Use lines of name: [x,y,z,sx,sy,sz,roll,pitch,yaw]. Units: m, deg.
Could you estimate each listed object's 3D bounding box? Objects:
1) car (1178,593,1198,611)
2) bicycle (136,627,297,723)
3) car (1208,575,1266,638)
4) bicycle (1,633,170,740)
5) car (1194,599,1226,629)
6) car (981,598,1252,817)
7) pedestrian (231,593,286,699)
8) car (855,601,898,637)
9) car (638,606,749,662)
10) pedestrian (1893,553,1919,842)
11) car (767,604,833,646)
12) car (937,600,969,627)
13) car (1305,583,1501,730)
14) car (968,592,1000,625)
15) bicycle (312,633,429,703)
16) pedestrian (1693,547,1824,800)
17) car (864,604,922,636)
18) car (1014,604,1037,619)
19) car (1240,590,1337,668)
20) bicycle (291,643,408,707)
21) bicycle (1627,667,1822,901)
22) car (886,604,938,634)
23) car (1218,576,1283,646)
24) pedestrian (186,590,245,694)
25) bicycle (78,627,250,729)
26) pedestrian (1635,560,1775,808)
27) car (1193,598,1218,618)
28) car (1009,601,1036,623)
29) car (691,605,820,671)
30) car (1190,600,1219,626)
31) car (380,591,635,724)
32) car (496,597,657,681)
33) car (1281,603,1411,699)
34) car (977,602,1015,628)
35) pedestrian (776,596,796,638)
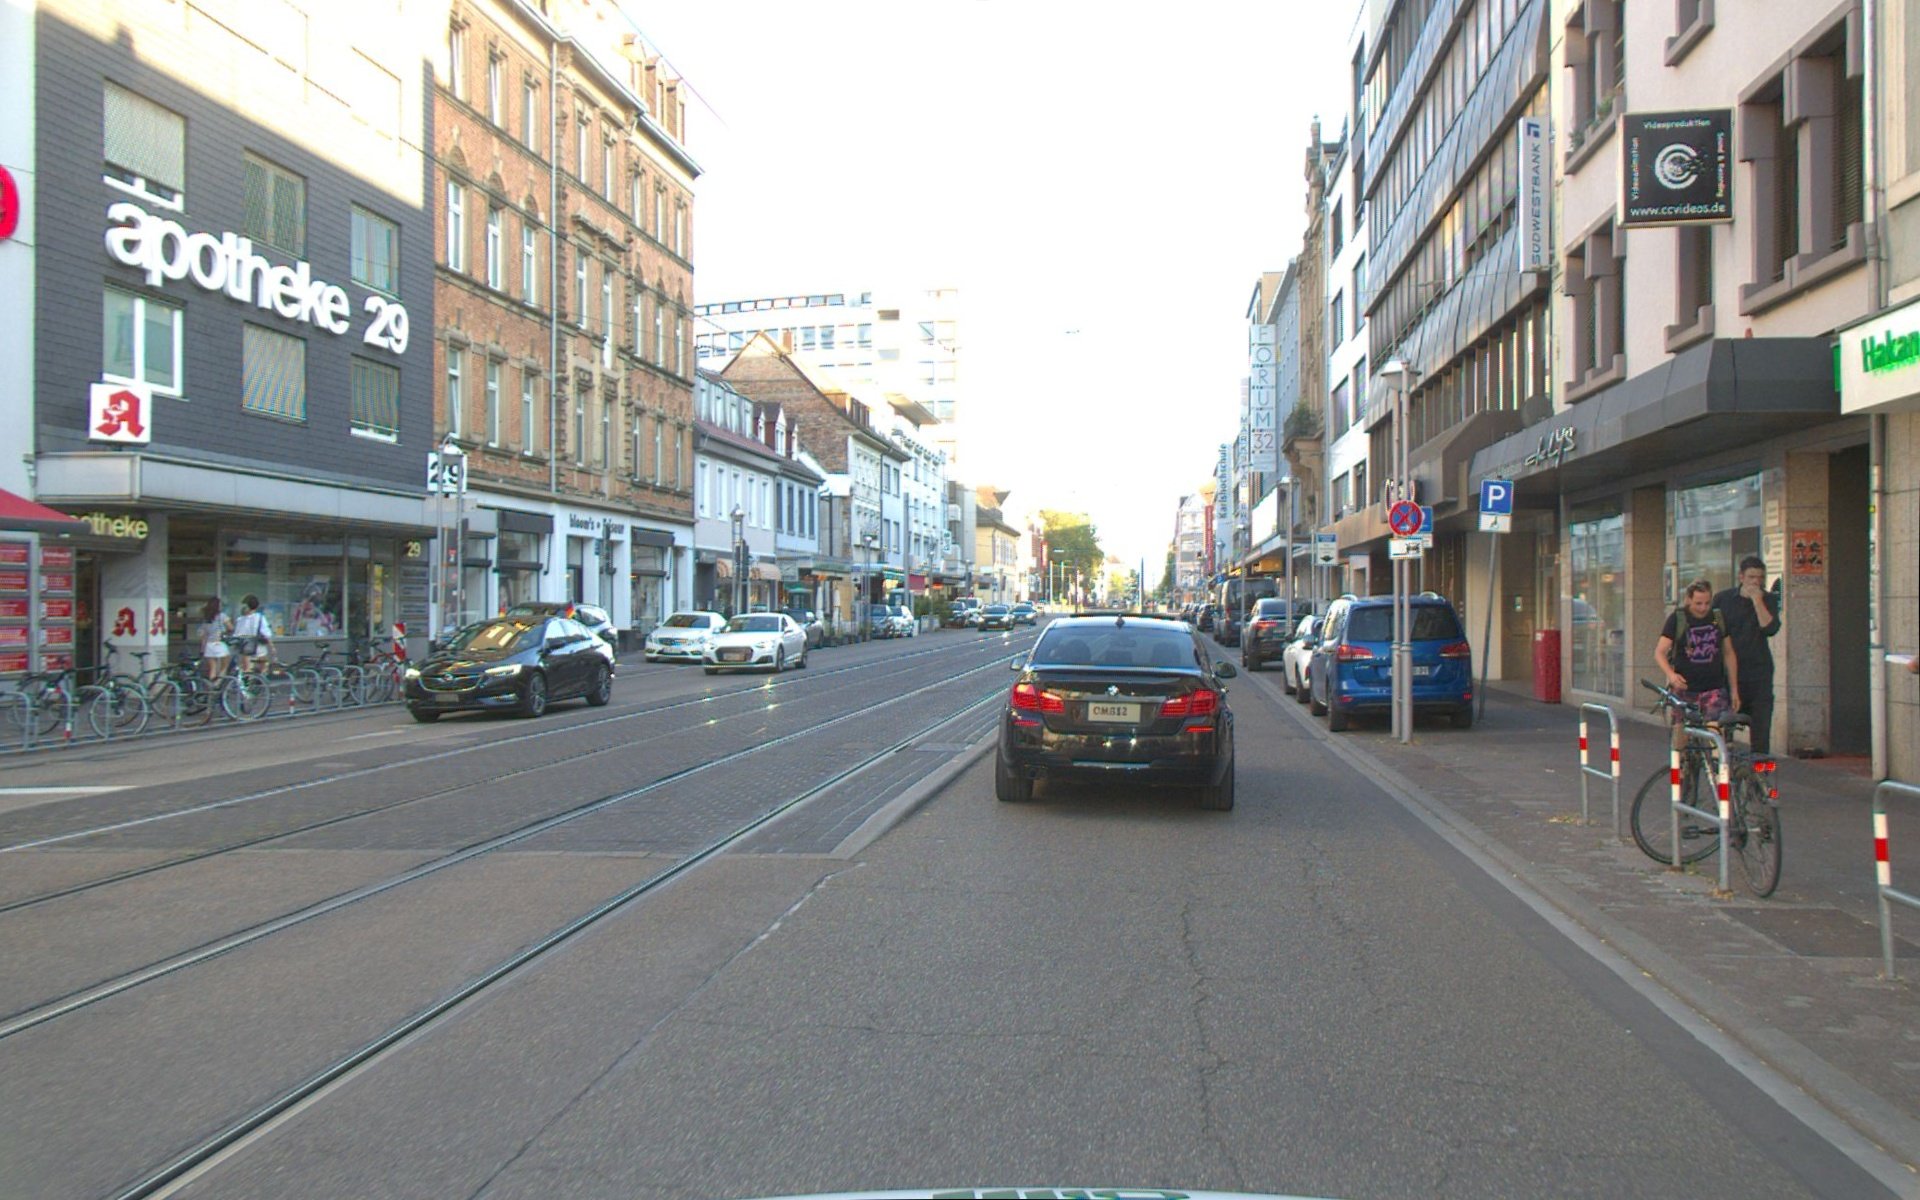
car: [20.911,0.195,151.951,1.736,1.576,3.505,0,-1,7]
bicycle: [-10.548,1.054,23.491,2.067,1.245,0.553,2,1,7]
car: [11.708,0.253,70.229,1.990,2.498,5.413,-2,0,5]
bicycle: [-10.924,1.068,20.677,1.851,1.232,0.553,2,0,7]
car: [13.953,0.772,92.449,1.619,1.564,3.888,-1,0,7]
car: [1.441,0.799,14.074,1.912,1.525,4.468,1,-1,9]
pedestrian: [-11.555,0.746,27.236,0.607,1.729,0.603,0,0,7]
car: [-3.759,0.839,74.787,1.445,1.605,2.797,0,0,7]
car: [-7.450,0.925,46.720,1.829,1.478,4.614,0,0,8]
pedestrian: [6.418,0.611,10.273,0.750,1.837,0.928,-2,-1,8]
car: [-5.803,0.926,60.431,1.564,1.465,3.815,1,-1,8]
car: [-0.398,0.863,105.592,1.827,1.714,4.001,1,0,3]
car: [5.975,0.711,22.832,1.951,1.757,4.580,-2,0,7]
car: [1.682,0.580,113.569,1.952,2.194,4.913,0,0,4]
bicycle: [-9.923,1.136,27.841,1.792,1.065,0.489,2,2,7]
pedestrian: [6.412,0.572,13.322,0.647,1.961,0.879,-1,0,5]
car: [-3.167,0.934,79.325,1.951,1.478,4.825,0,0,8]
car: [6.437,1.134,162.773,1.887,1.460,4.249,1,0,7]
car: [8.005,0.684,40.653,1.951,1.757,4.568,-2,0,7]
bicycle: [-9.962,1.221,27.001,1.767,0.928,0.456,2,2,7]
bicycle: [4.315,0.994,9.431,0.522,1.167,1.491,-1,0,5]
car: [-2.435,0.963,84.556,1.951,1.478,4.333,0,0,8]
car: [11.110,0.410,63.635,2.048,2.498,6.036,-1,0,7]
pedestrian: [-12.287,0.682,27.308,0.668,1.690,0.625,0,0,7]
bicycle: [-10.662,1.033,22.159,2.067,1.245,0.553,2,0,7]
pedestrian: [5.803,0.639,12.934,0.722,1.861,0.851,-1,0,5]
car: [19.314,0.646,130.299,1.862,1.576,4.003,0,-1,7]
car: [4.423,0.833,116.525,1.656,1.478,4.468,0,0,6]
car: [-4.862,0.879,39.945,1.951,1.478,4.660,0,0,8]
car: [14.386,0.766,97.419,1.526,1.467,3.711,-2,0,7]
car: [-6.648,0.794,24.916,1.951,1.757,4.731,-2,0,8]
car: [-8.500,0.817,37.115,1.889,1.704,4.650,1,0,9]
car: [6.605,0.833,28.660,1.757,1.458,3.890,-2,0,7]
car: [2.135,0.849,96.461,1.951,1.478,4.651,0,0,4]
pedestrian: [-7.047,0.685,67.169,0.648,1.673,0.695,0,0,7]
